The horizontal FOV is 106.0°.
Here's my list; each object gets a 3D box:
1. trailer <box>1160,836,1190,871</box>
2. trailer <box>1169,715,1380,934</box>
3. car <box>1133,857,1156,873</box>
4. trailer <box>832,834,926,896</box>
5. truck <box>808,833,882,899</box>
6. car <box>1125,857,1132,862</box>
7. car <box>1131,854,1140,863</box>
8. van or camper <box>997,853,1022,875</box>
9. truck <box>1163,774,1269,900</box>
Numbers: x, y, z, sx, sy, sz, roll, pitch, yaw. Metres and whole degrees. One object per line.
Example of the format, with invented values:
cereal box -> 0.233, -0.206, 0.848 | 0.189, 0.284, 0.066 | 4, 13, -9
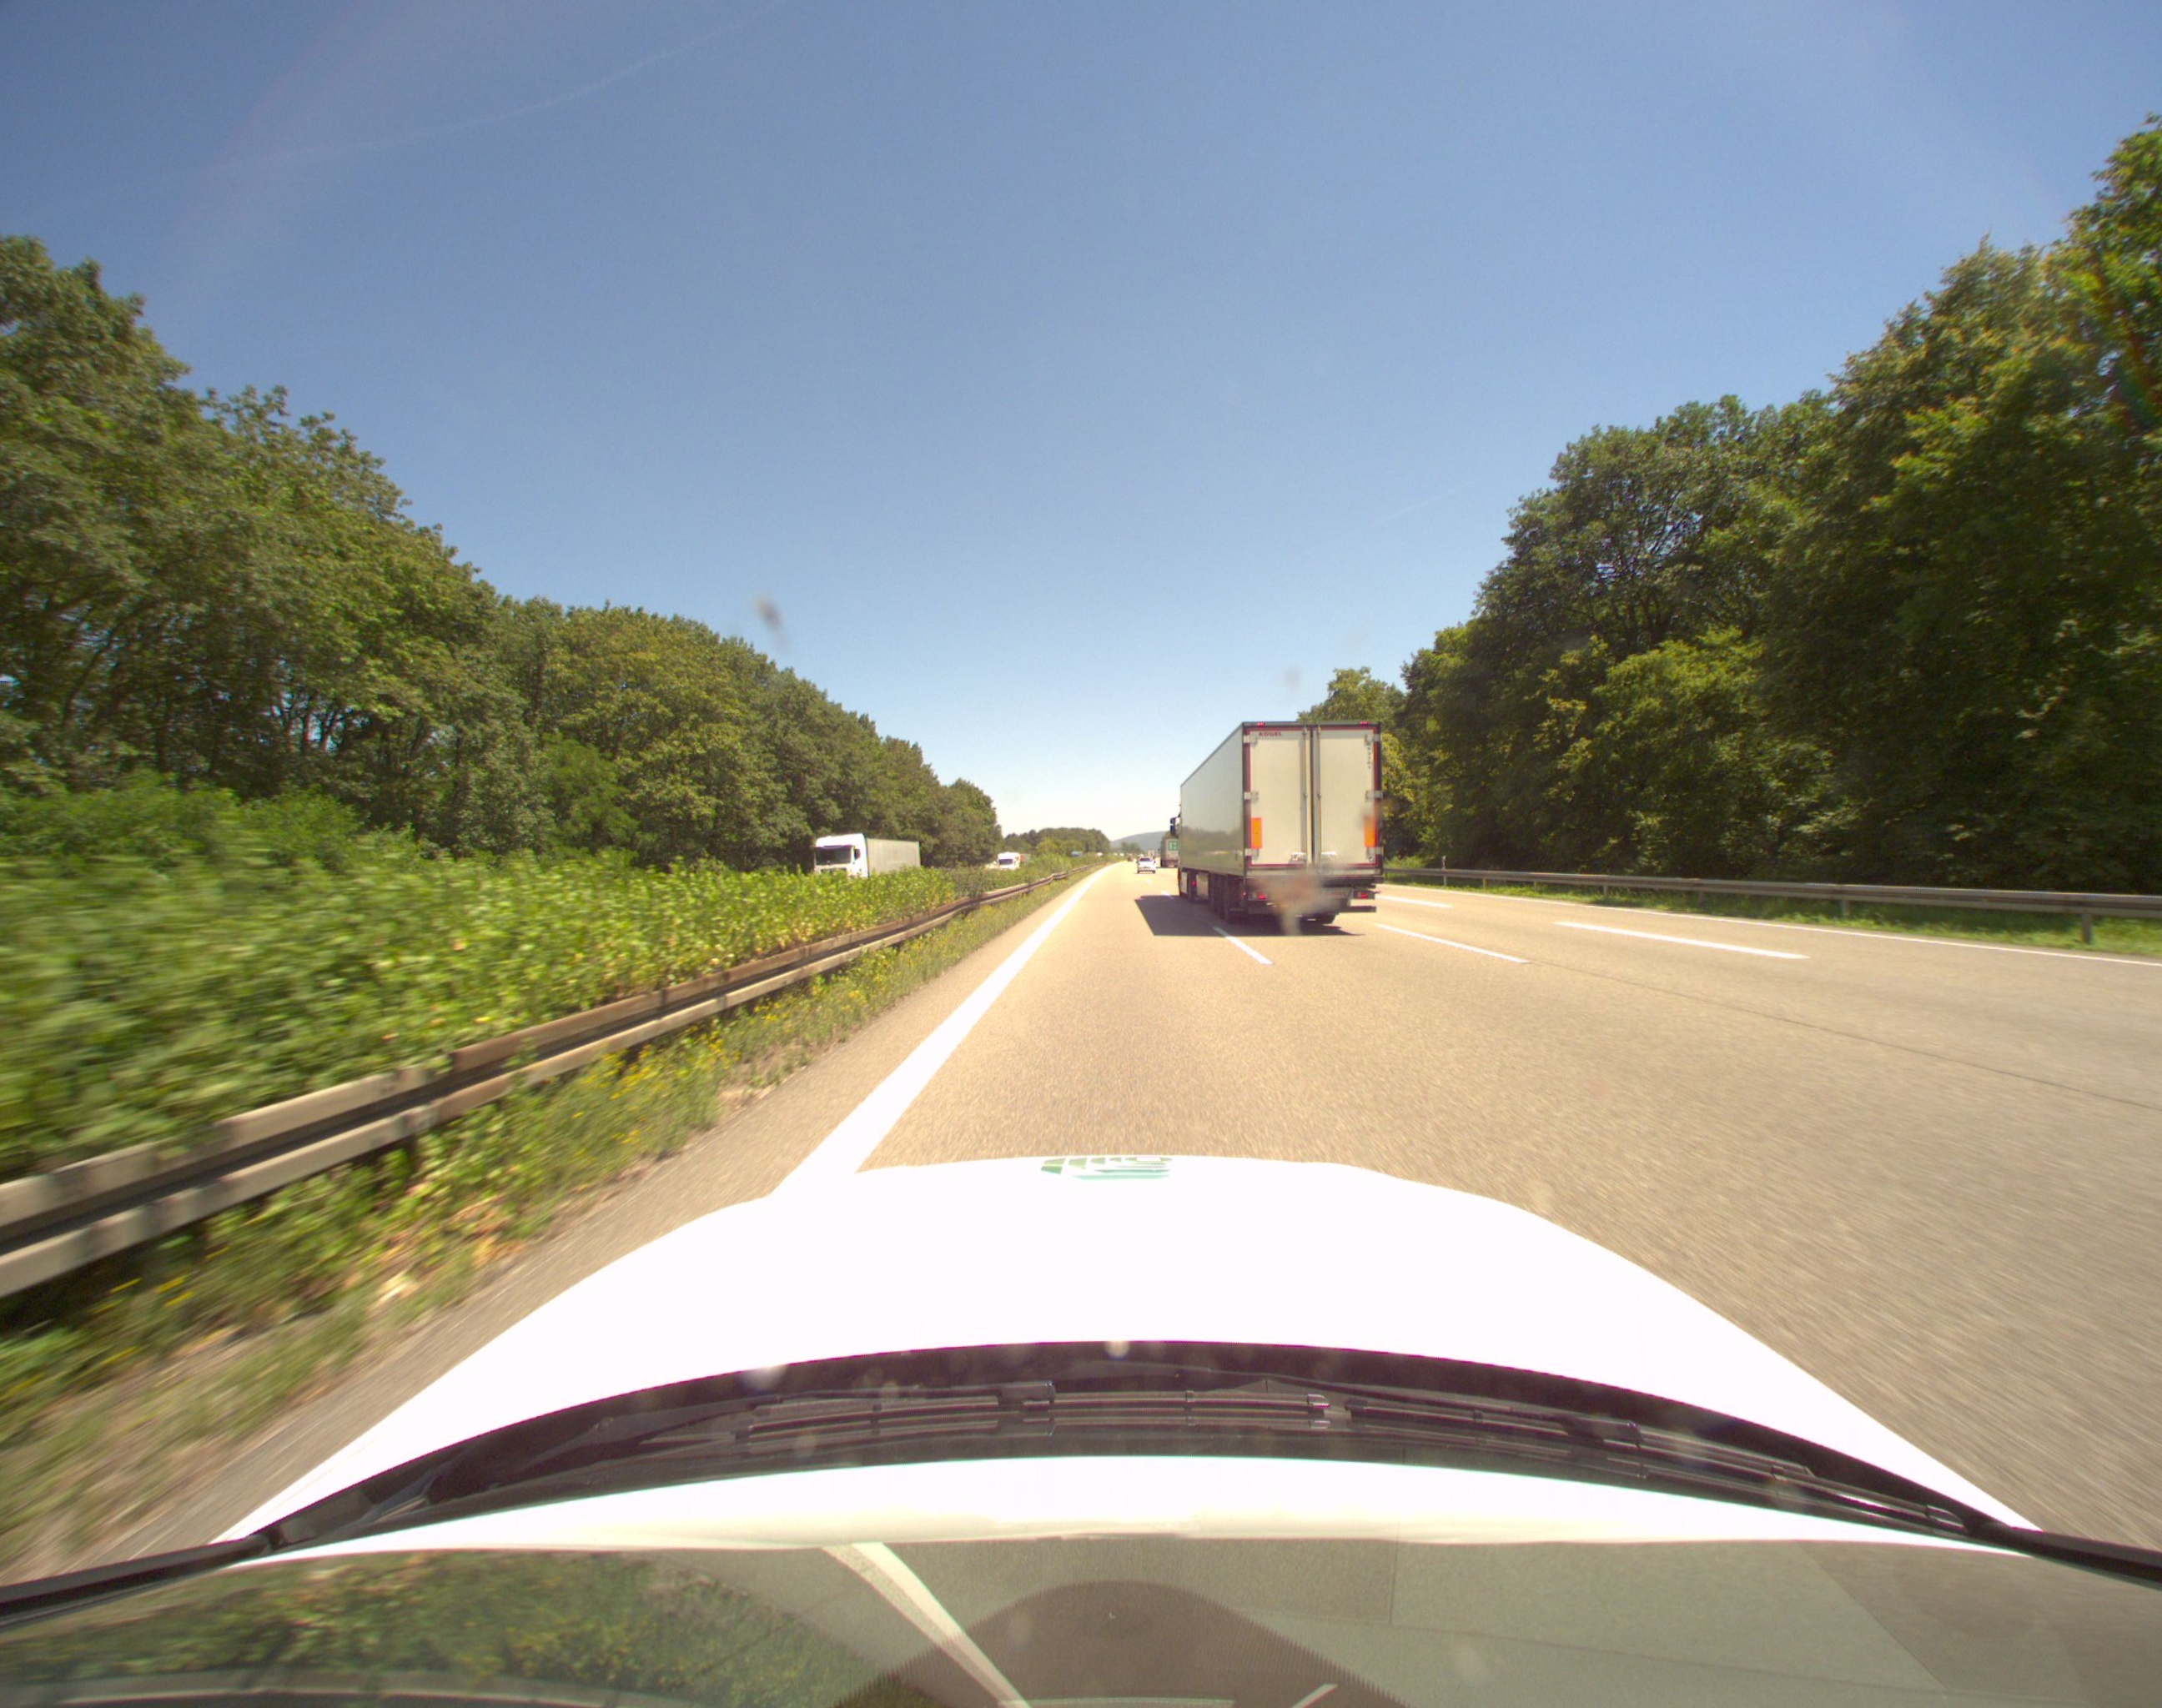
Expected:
trailer -> 12.901, -0.053, 113.203 | 3.169, 4.627, 12.057 | -1, 0, 2
trailer -> 4.385, -0.562, 21.887 | 3.210, 4.143, 12.360 | -2, 0, 3
car -> 5.877, 0.965, 75.606 | 1.806, 1.405, 3.315 | -2, 0, -2
trailer -> -14.217, 0.734, 59.003 | 2.898, 3.878, 13.648 | -2, 0, 2
truck -> -14.459, 0.716, 50.229 | 2.879, 3.823, 4.886 | -2, 0, 2
car -> 14.988, 1.737, 257.463 | 1.877, 1.349, 4.465 | -2, 0, -1
car -> 13.001, 1.091, 194.275 | 1.874, 2.013, 4.003 | -2, 0, 3
van or camper -> -10.617, 1.448, 121.229 | 2.410, 3.112, 9.093 | -2, 0, 3
truck -> 4.764, -0.570, 29.660 | 3.216, 4.157, 4.563 | -2, 0, 3
